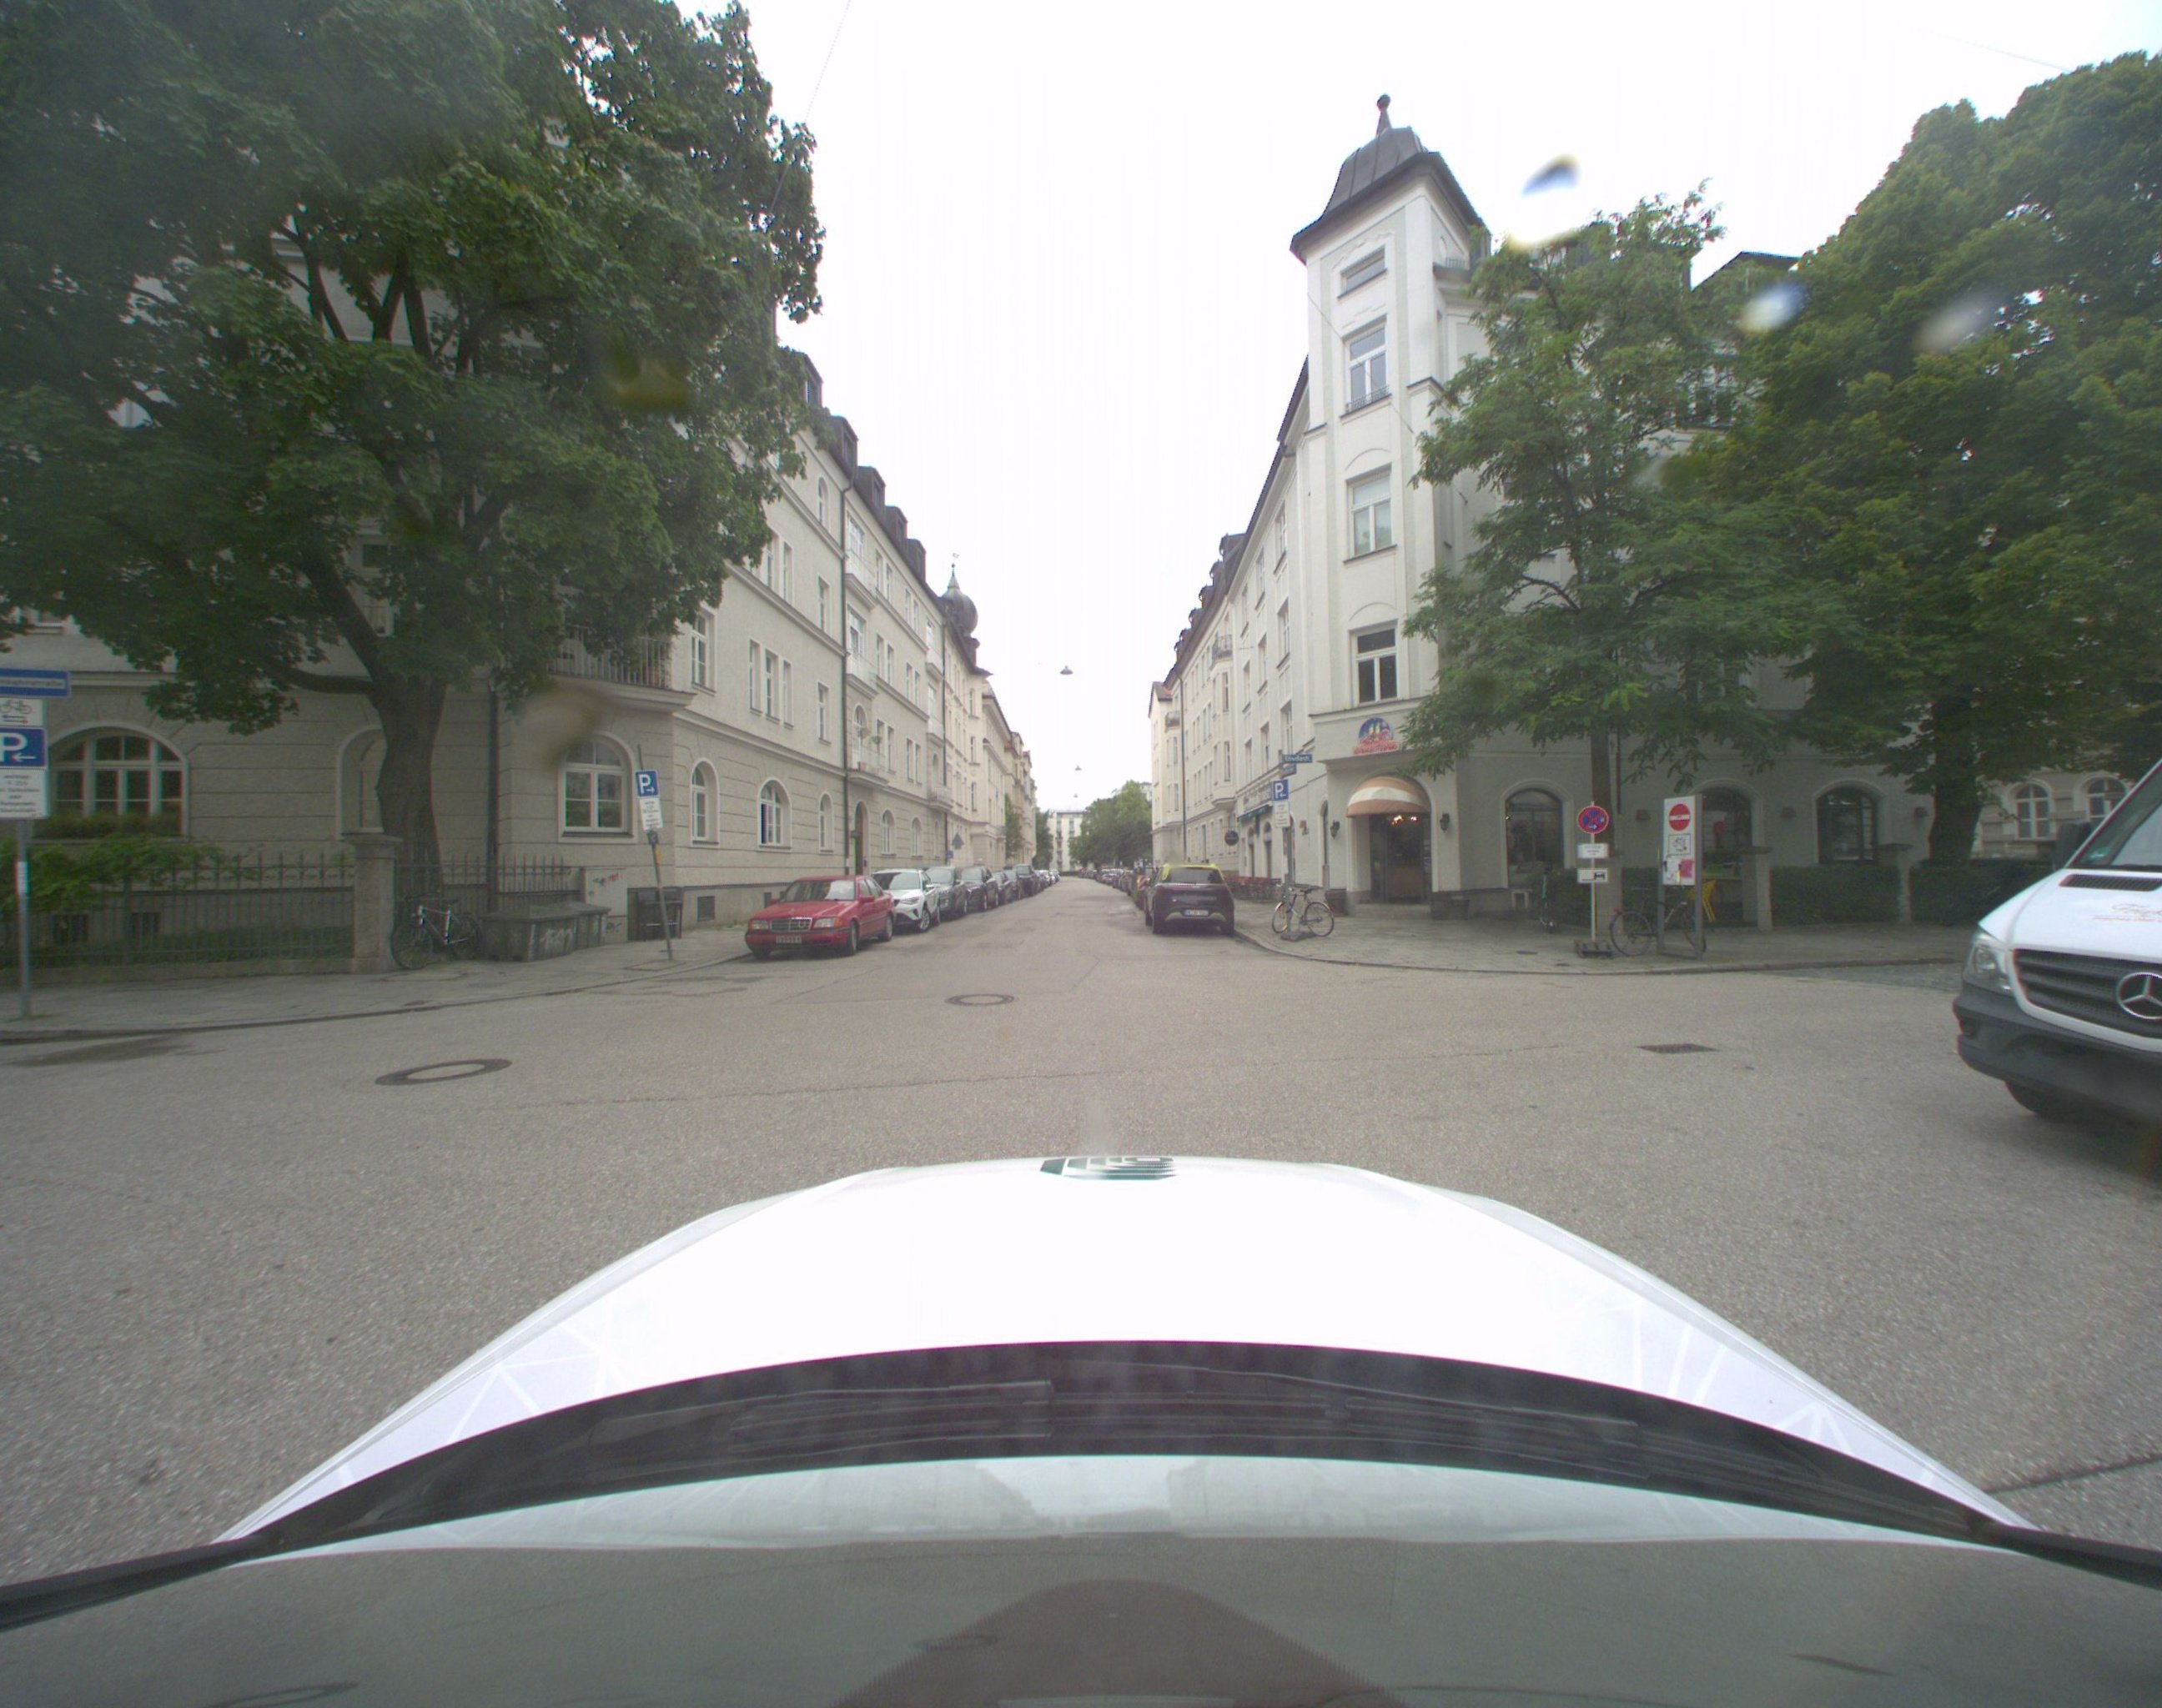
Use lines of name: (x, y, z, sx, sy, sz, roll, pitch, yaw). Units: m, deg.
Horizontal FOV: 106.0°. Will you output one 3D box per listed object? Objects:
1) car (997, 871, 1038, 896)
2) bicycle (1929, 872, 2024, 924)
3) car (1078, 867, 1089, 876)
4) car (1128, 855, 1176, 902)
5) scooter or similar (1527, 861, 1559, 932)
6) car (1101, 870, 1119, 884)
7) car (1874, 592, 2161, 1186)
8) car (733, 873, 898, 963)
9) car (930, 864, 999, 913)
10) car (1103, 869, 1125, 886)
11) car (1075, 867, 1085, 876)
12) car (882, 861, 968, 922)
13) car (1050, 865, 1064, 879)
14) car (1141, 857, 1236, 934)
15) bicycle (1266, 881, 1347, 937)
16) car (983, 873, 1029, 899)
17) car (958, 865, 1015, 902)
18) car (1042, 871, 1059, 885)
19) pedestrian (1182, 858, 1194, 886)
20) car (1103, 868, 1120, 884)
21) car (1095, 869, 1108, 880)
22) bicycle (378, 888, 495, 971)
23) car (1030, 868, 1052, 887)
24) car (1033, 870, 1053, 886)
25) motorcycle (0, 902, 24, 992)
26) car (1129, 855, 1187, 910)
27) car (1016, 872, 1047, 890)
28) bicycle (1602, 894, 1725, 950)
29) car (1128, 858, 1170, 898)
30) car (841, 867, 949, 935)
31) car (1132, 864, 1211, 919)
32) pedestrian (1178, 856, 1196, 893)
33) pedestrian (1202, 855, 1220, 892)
car: (-3.603, 1.665, 46.811, 1.899, 1.329, 4.001, -1, -1, 2)
bicycle: (17.144, 0.835, 15.603, 1.454, 0.948, 0.430, 0, 2, -6)
car: (0.540, 3.739, 173.112, 1.989, 1.982, 4.888, -1, -1, -3)
car: (3.091, 1.059, 36.245, 1.813, 1.923, 4.184, 1, -1, 1)
scooter or similar: (8.843, 0.782, 15.616, 0.423, 1.279, 1.286, -1, 1, 25)
car: (3.110, 2.473, 88.770, 1.725, 1.418, 3.849, -1, -1, -1)
car: (7.607, 0.114, 4.083, 5.890, 2.591, 2.054, -1, 0, -8)
car: (-4.775, 1.084, 15.291, 1.725, 1.378, 4.225, -1, -1, -1)
car: (-4.202, 1.216, 30.093, 1.988, 1.676, 4.286, -1, -1, -1)
car: (3.133, 2.206, 78.047, 1.901, 1.576, 3.997, -1, -1, -1)
car: (-0.295, 4.029, 184.525, 1.989, 1.982, 4.888, -1, -1, -3)
car: (-4.679, 1.093, 24.964, 1.989, 1.676, 4.008, -1, -1, -2)
car: (-3.361, 2.528, 115.399, 1.840, 2.014, 3.998, -1, -1, -1)
car: (2.514, 0.939, 19.954, 1.813, 1.636, 4.289, 1, -1, 1)
bicycle: (4.467, 1.073, 16.244, 0.541, 0.999, 1.742, -4, 0, -22)
car: (-3.815, 1.639, 42.098, 1.899, 1.222, 4.001, -1, -1, 2)
car: (-4.140, 1.274, 36.319, 1.918, 1.546, 4.002, -1, -1, 2)
car: (-3.610, 2.873, 97.445, 1.988, 1.574, 3.997, -1, -1, -2)
pedestrian: (7.202, 1.227, 54.705, 0.774, 1.851, 0.861, -1, -1, 8)
car: (3.919, 2.841, 106.835, 1.988, 1.982, 4.891, -1, -1, -1)
car: (3.314, 3.310, 133.954, 1.945, 1.652, 3.997, -2, -1, -1)
bicycle: (-9.672, 1.095, 12.305, 0.493, 1.052, 1.822, -1, 1, -7)
car: (-3.412, 2.011, 70.242, 1.815, 1.574, 3.997, -1, -1, -2)
car: (-3.542, 2.222, 76.195, 1.729, 1.420, 3.996, -1, -1, -2)
motorcycle: (-14.531, 1.183, 10.049, 1.981, 1.112, 0.590, -1, 0, -7)
car: (2.765, 1.010, 30.115, 1.813, 1.871, 4.289, 1, -1, 1)
car: (-3.522, 1.928, 58.663, 1.900, 1.222, 3.999, -1, -1, 0)
bicycle: (8.912, 1.038, 12.499, 1.405, 0.783, 0.545, -2, -1, 9)
car: (3.339, 1.168, 40.690, 1.985, 1.857, 4.348, -1, -1, 3)
car: (-4.513, 1.082, 20.390, 1.990, 1.473, 4.212, -1, -1, -4)
car: (2.669, 1.076, 24.919, 1.969, 1.498, 4.638, 1, -1, 1)
pedestrian: (5.481, 1.063, 42.212, 0.775, 1.851, 1.023, -1, -1, 2)
pedestrian: (6.646, 1.005, 41.619, 0.775, 1.851, 1.023, -1, -1, 2)
